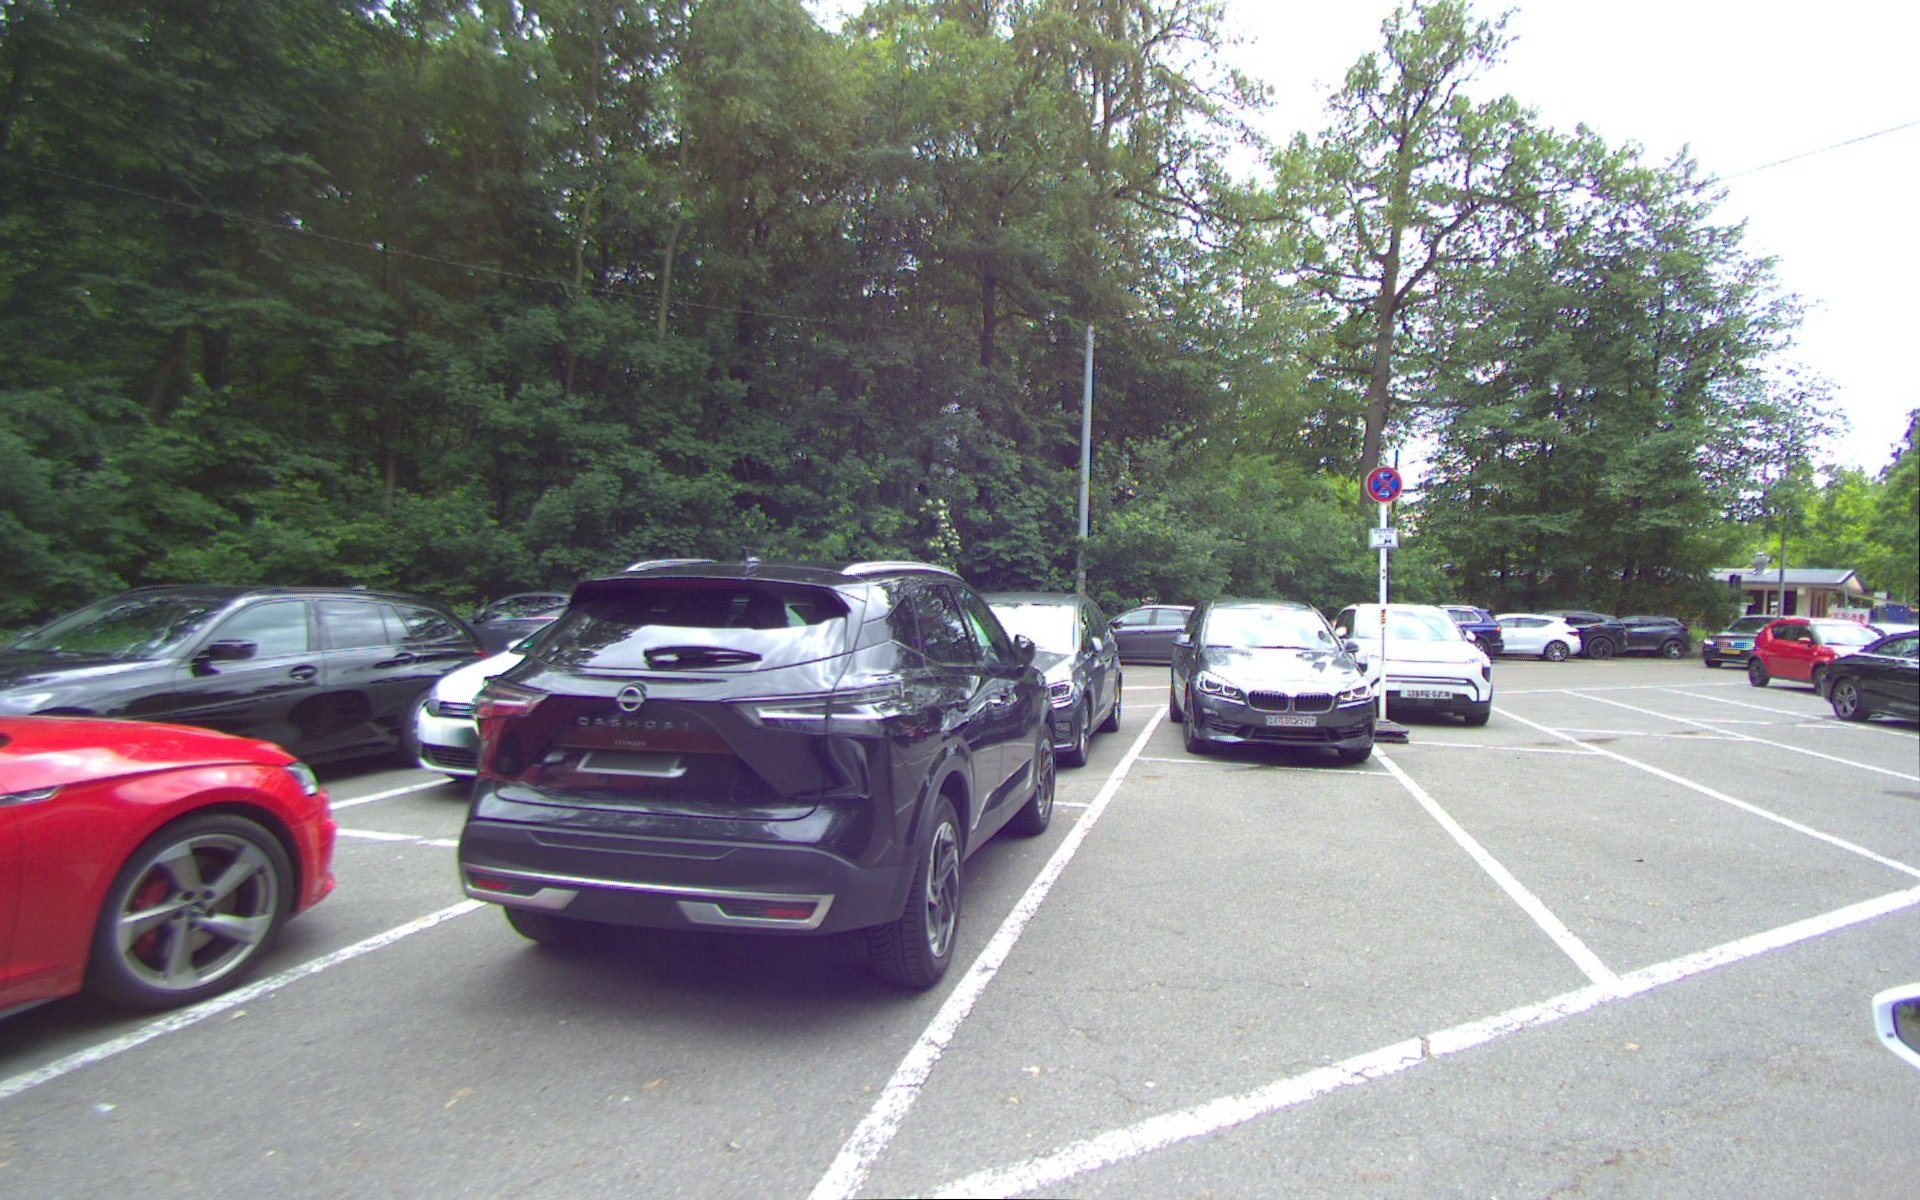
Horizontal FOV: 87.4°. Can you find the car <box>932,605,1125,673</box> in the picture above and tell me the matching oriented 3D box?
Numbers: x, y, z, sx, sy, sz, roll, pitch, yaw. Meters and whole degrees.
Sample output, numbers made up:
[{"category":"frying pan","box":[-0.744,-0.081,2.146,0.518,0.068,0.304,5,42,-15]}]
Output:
[{"category":"car","box":[1.639,0.859,23.347,4.176,1.396,1.966,1,0,14]}]

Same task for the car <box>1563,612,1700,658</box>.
[{"category":"car","box":[24.091,1.244,36.149,3.715,1.512,1.700,1,0,15]}]

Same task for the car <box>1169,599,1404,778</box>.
[{"category":"car","box":[3.393,0.806,11.206,1.835,1.575,4.002,2,0,9]}]

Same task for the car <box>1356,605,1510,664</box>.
[{"category":"car","box":[14.347,1.021,30.711,4.038,1.639,1.842,1,0,19]}]

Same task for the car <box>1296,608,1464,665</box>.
[{"category":"car","box":[11.789,0.991,28.468,4.212,1.432,1.928,1,0,20]}]

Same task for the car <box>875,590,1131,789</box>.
[{"category":"car","box":[0.665,0.759,10.503,1.810,1.608,3.979,2,0,15]}]

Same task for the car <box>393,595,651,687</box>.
[{"category":"car","box":[-7.825,0.687,18.061,3.919,1.441,1.911,1,0,15]}]

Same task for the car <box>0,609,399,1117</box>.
[{"category":"car","box":[-3.800,0.764,2.366,1.733,1.413,4.393,1,0,15]}]

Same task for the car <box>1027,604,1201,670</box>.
[{"category":"car","box":[3.900,0.877,25.223,4.103,1.477,1.805,1,0,16]}]

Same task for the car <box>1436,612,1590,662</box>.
[{"category":"car","box":[17.707,1.148,32.378,4.038,1.458,1.870,1,0,19]}]

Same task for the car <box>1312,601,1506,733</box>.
[{"category":"car","box":[6.447,0.860,14.920,1.809,1.618,4.192,2,0,13]}]

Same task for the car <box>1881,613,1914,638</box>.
[{"category":"car","box":[80.749,2.204,86.536,1.972,2.040,3.977,2,0,43]}]

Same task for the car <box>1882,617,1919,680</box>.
[{"category":"car","box":[24.651,1.239,24.347,1.794,1.543,4.101,1,0,18]}]

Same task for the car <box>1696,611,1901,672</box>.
[{"category":"car","box":[24.301,1.178,29.279,4.118,1.601,1.959,1,0,14]}]

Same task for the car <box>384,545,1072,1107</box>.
[{"category":"car","box":[-0.609,0.678,5.190,1.860,1.685,4.002,1,0,13]}]

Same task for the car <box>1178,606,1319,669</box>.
[{"category":"car","box":[7.742,0.958,27.032,3.511,1.525,1.735,1,0,18]}]

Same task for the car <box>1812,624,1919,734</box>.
[{"category":"car","box":[14.129,1.125,13.817,1.831,1.461,4.318,1,0,13]}]

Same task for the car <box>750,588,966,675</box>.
[{"category":"car","box":[-2.152,0.622,21.587,4.177,1.658,1.966,1,0,16]}]

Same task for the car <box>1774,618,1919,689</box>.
[{"category":"car","box":[21.803,1.230,24.159,1.839,1.503,4.002,1,0,13]}]

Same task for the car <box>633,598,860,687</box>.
[{"category":"car","box":[-4.137,0.779,19.531,3.921,1.486,1.835,2,0,20]}]

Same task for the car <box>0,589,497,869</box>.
[{"category":"car","box":[-5.487,0.676,7.095,1.724,1.463,4.281,1,0,14]}]

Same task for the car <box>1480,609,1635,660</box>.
[{"category":"car","box":[20.269,1.139,34.266,4.118,1.601,1.959,1,0,14]}]

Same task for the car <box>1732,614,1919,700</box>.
[{"category":"car","box":[18.662,1.149,21.762,1.652,1.606,3.656,1,0,13]}]

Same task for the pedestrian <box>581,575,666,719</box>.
[{"category":"pedestrian","box":[-4.288,0.577,12.767,0.886,1.748,0.758,1,0,-28]}]

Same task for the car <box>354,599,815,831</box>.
[{"category":"car","box":[-2.837,0.756,8.579,1.737,1.463,3.847,1,0,16]}]
